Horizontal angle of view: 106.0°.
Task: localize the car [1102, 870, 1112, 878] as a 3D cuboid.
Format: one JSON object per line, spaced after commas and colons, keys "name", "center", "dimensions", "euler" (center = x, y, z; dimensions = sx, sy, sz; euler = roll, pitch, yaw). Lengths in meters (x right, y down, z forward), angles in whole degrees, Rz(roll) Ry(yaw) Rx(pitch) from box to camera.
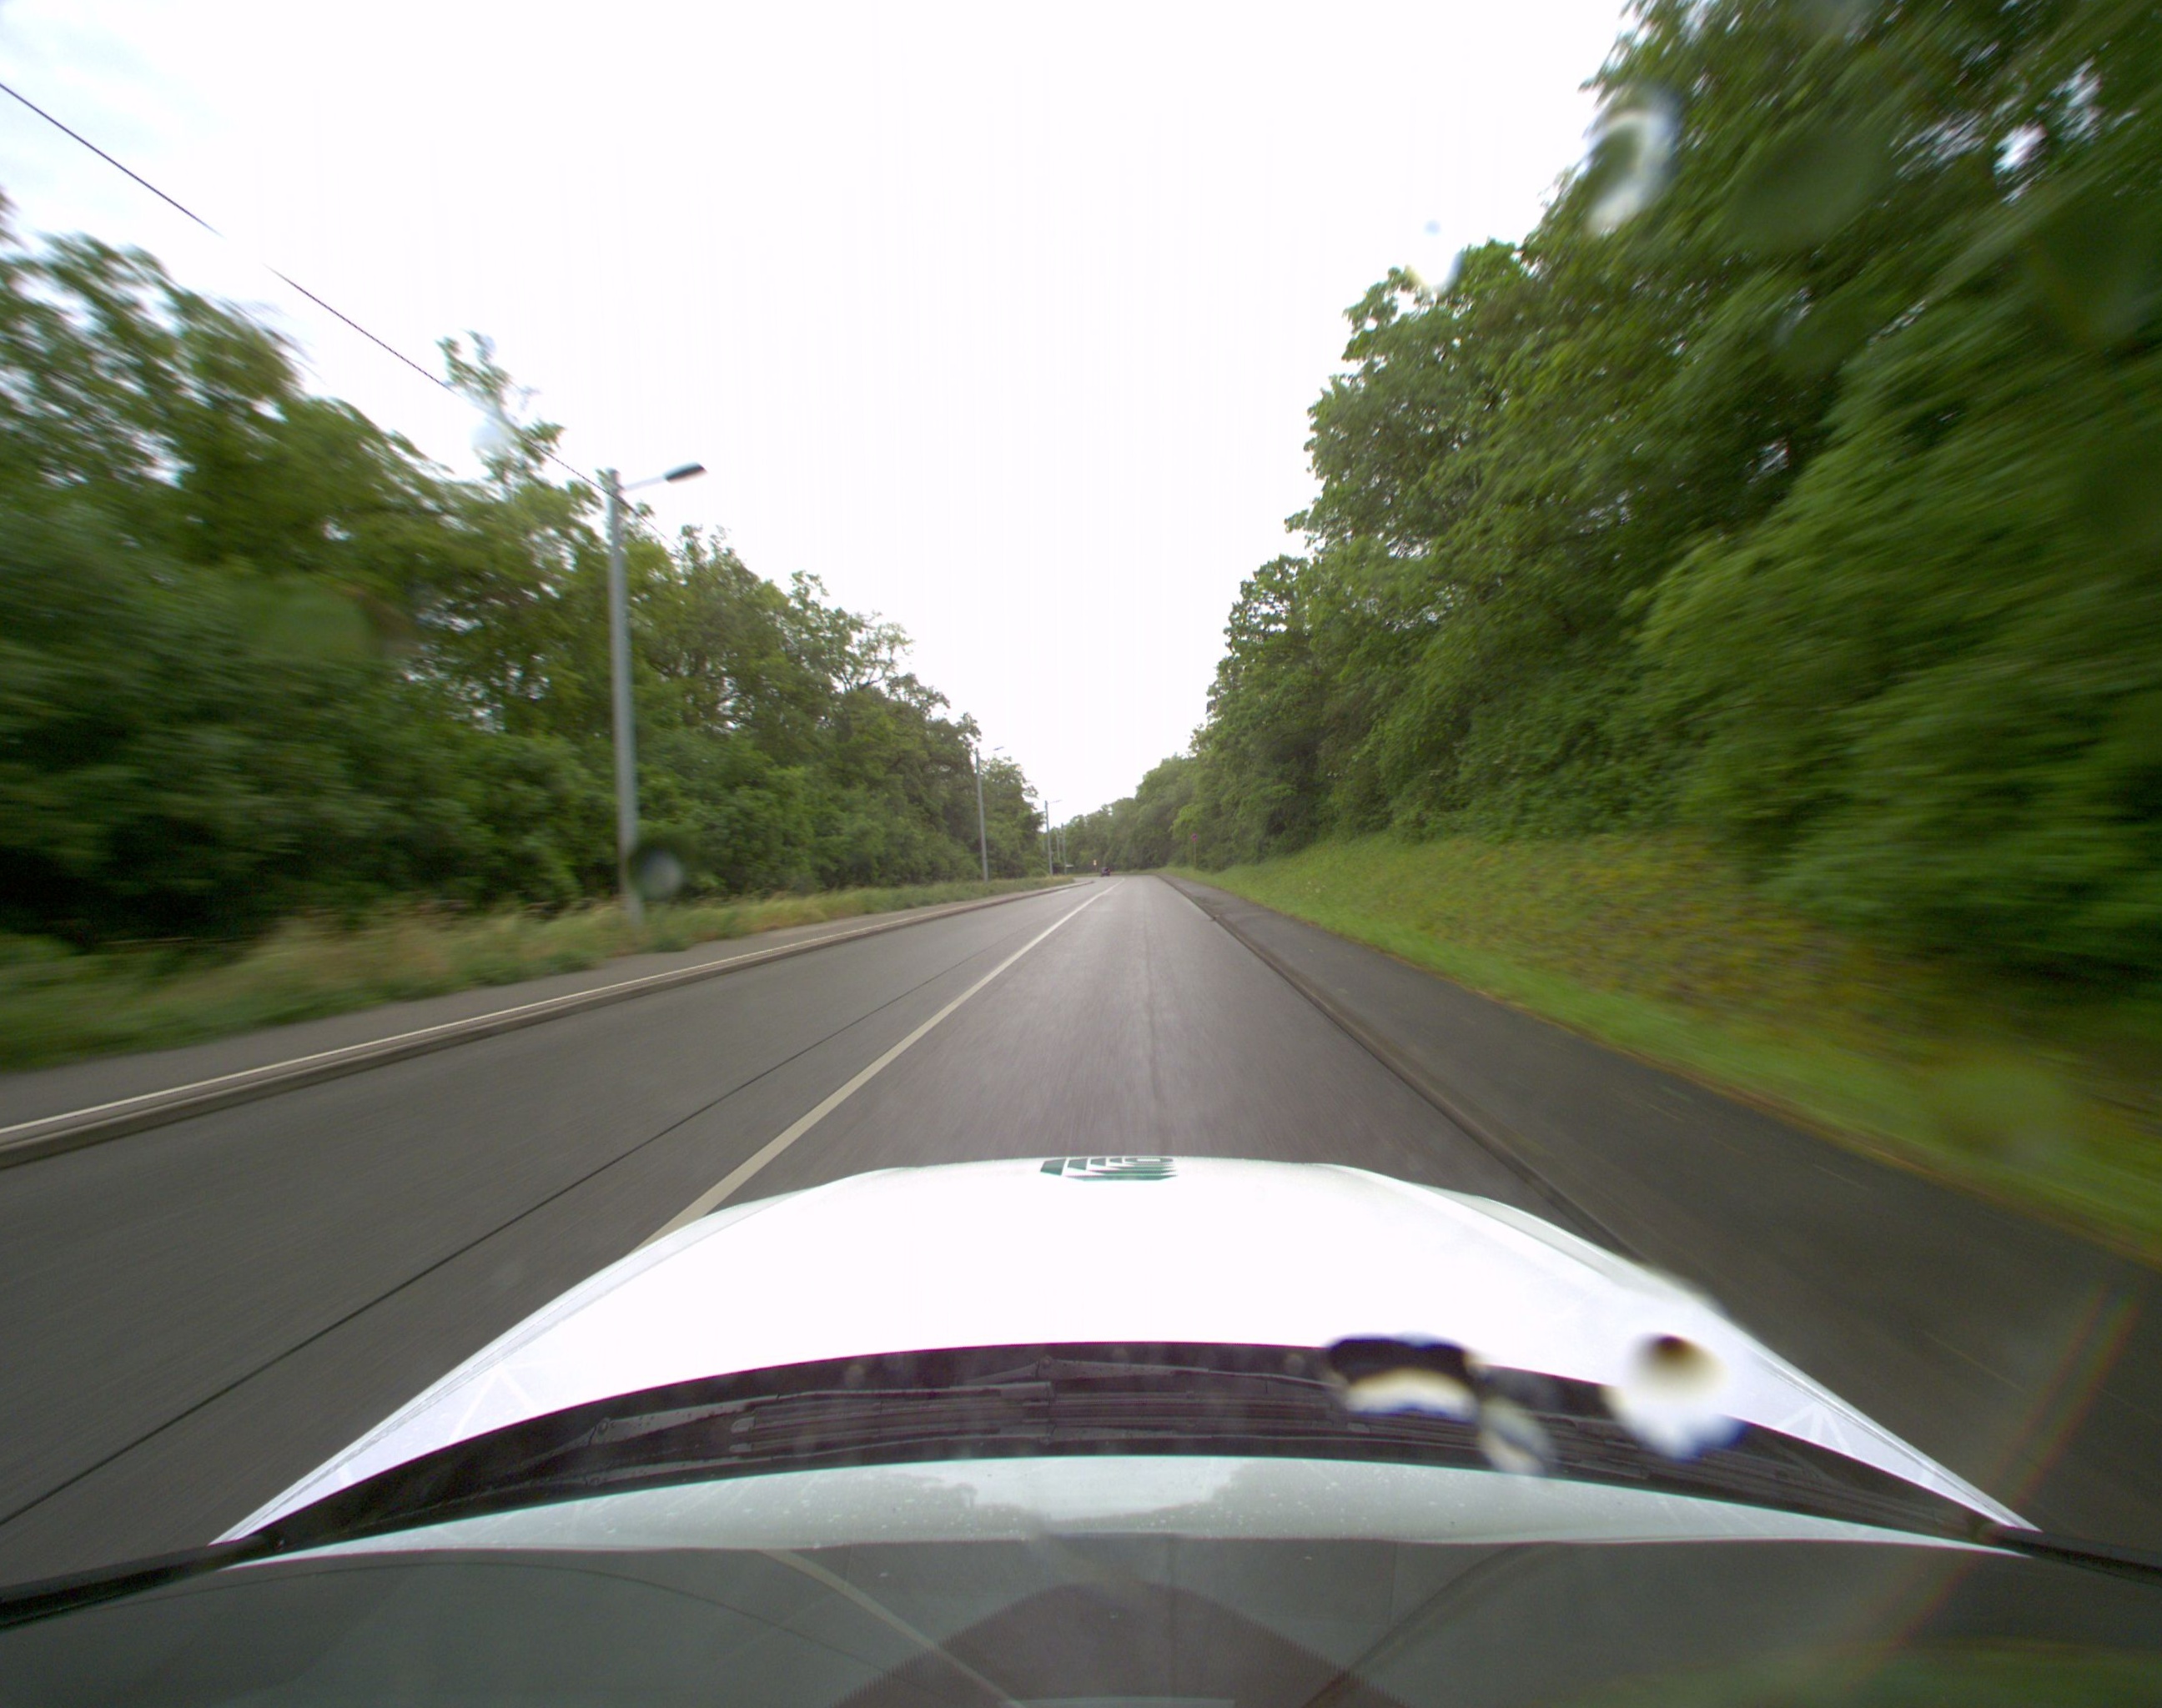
{"name": "car", "center": [5.246, 3.982, 164.853], "dimensions": [1.863, 1.596, 3.995], "euler": [0, -2, -3]}
